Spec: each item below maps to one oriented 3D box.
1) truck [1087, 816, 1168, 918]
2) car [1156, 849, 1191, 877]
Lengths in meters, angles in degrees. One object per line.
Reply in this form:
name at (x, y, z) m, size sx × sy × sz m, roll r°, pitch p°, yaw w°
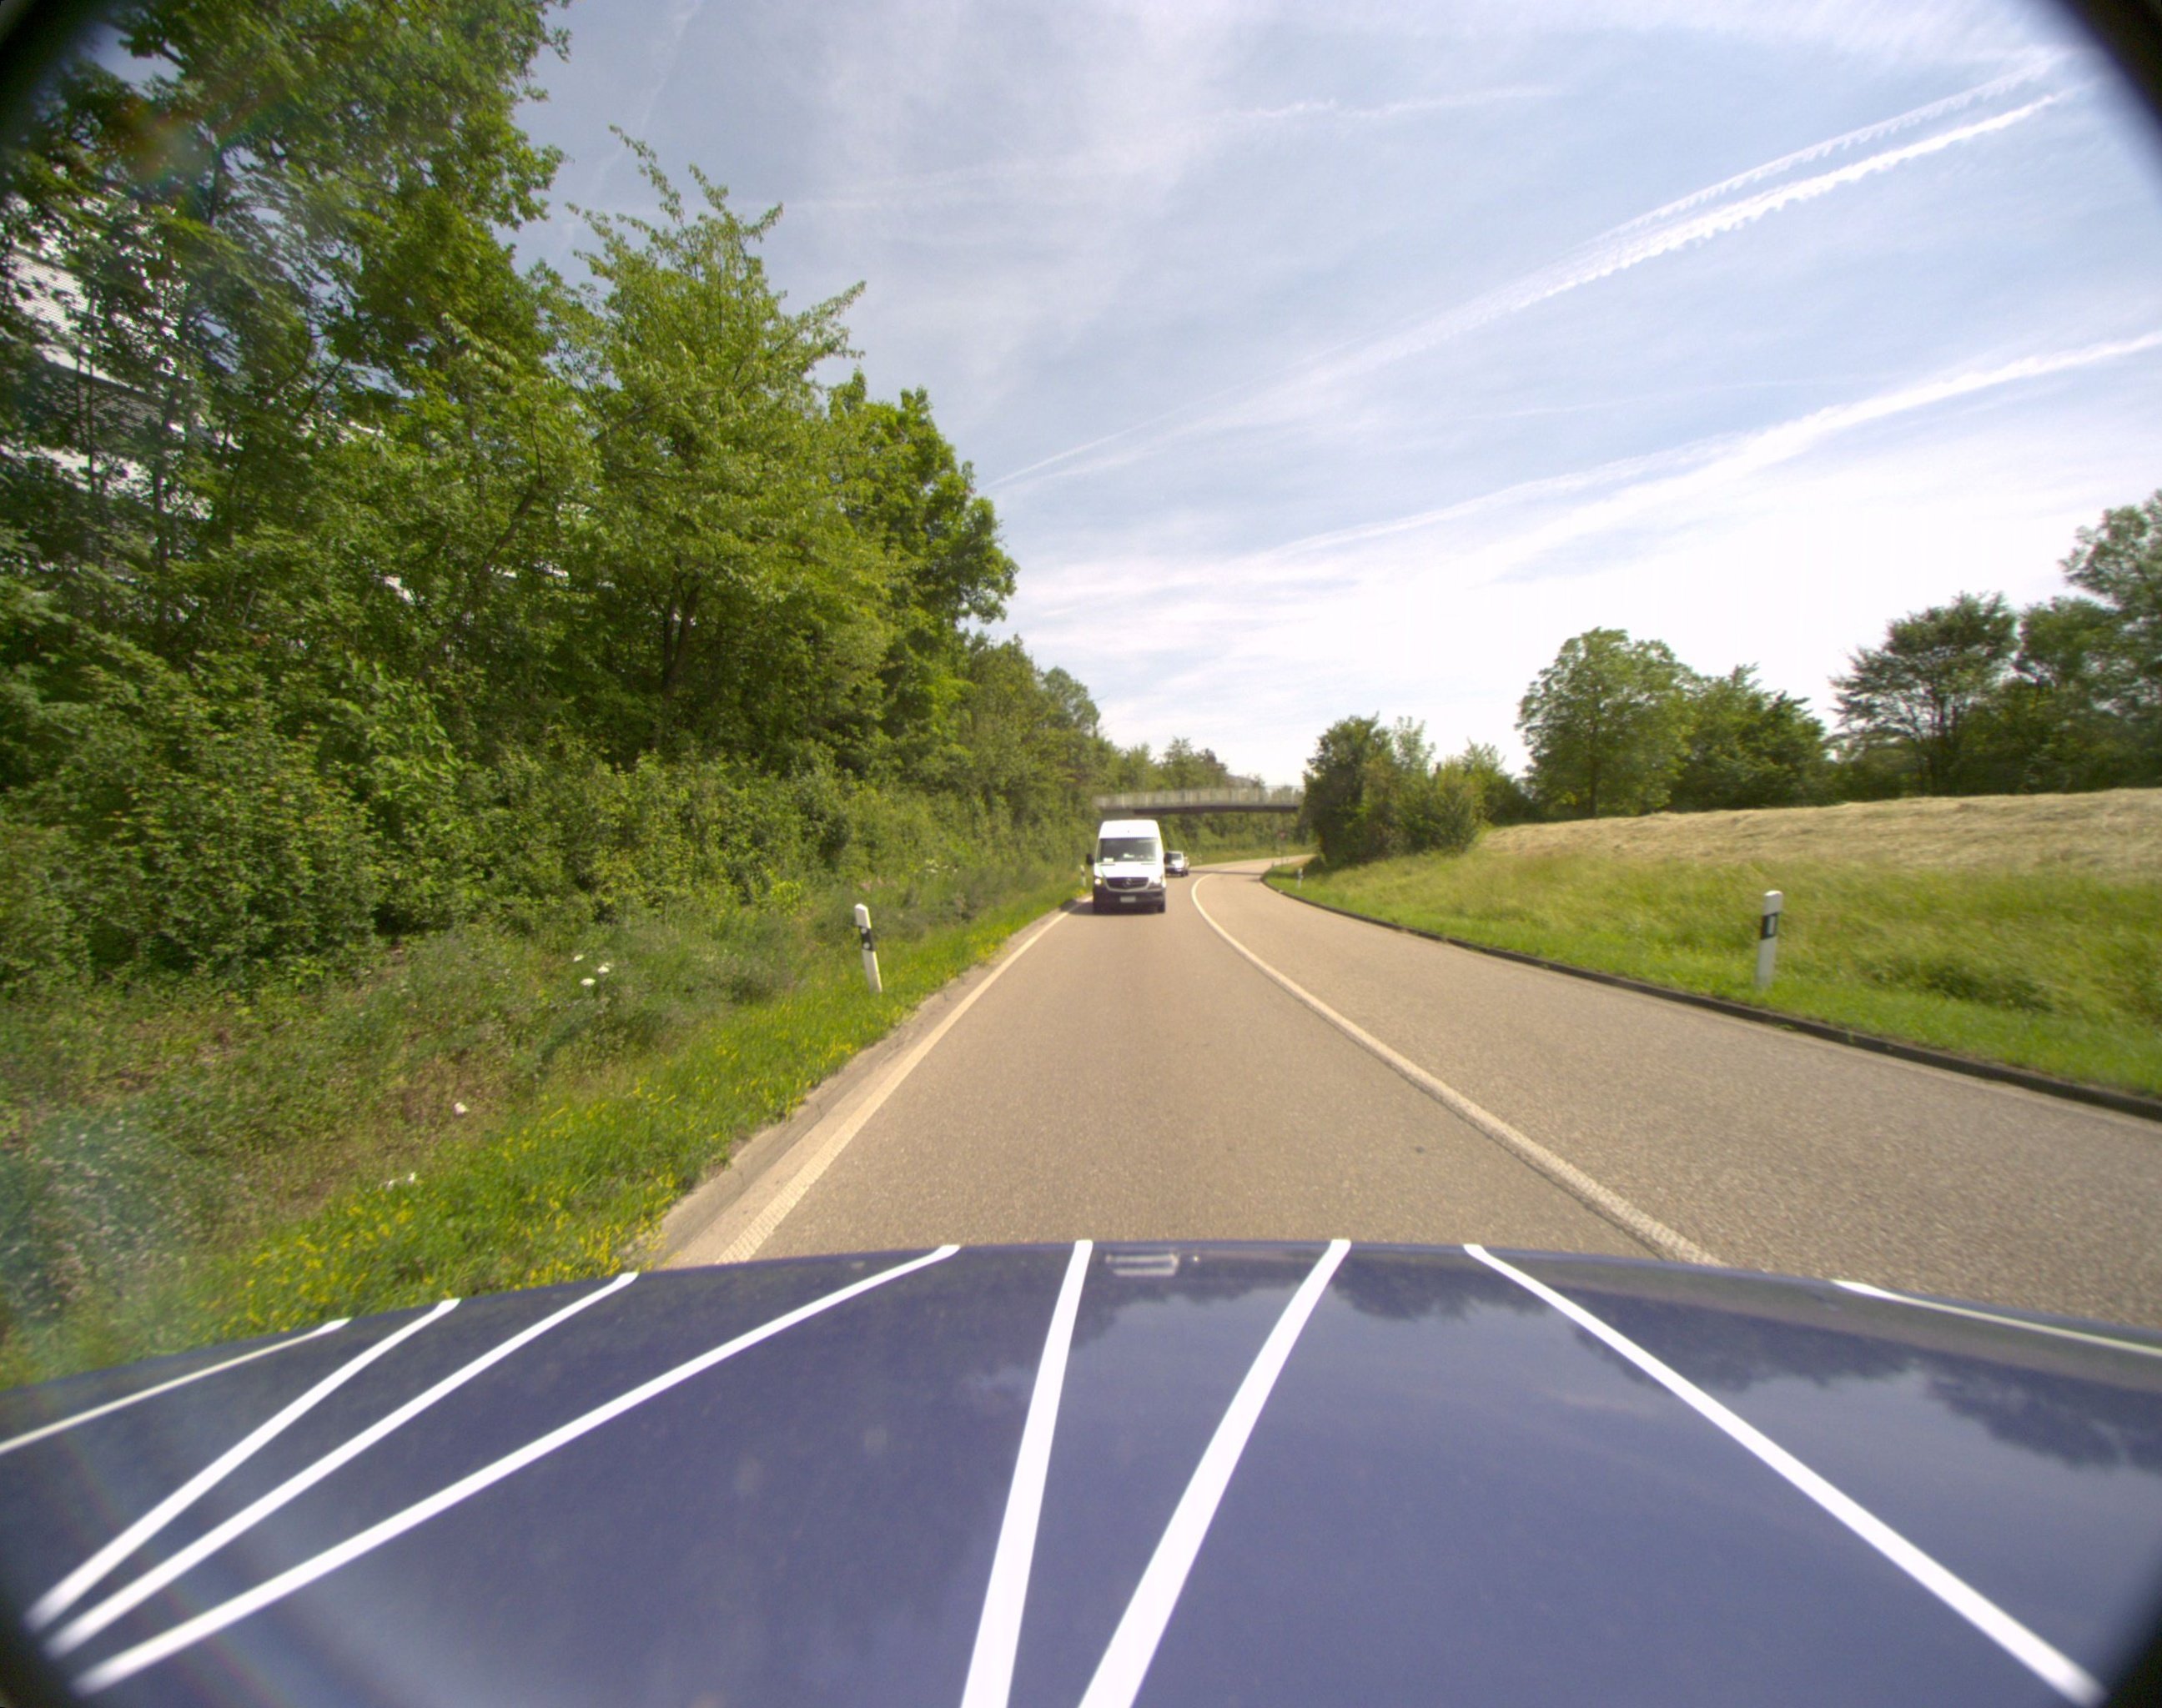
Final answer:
truck at (1.515, 0.345, 22.272) m, size 1.997 × 2.571 × 5.890 m, roll -1°, pitch 0°, yaw 7°
car at (6.222, 0.560, 50.664) m, size 1.847 × 1.698 × 4.092 m, roll 0°, pitch 1°, yaw 14°
